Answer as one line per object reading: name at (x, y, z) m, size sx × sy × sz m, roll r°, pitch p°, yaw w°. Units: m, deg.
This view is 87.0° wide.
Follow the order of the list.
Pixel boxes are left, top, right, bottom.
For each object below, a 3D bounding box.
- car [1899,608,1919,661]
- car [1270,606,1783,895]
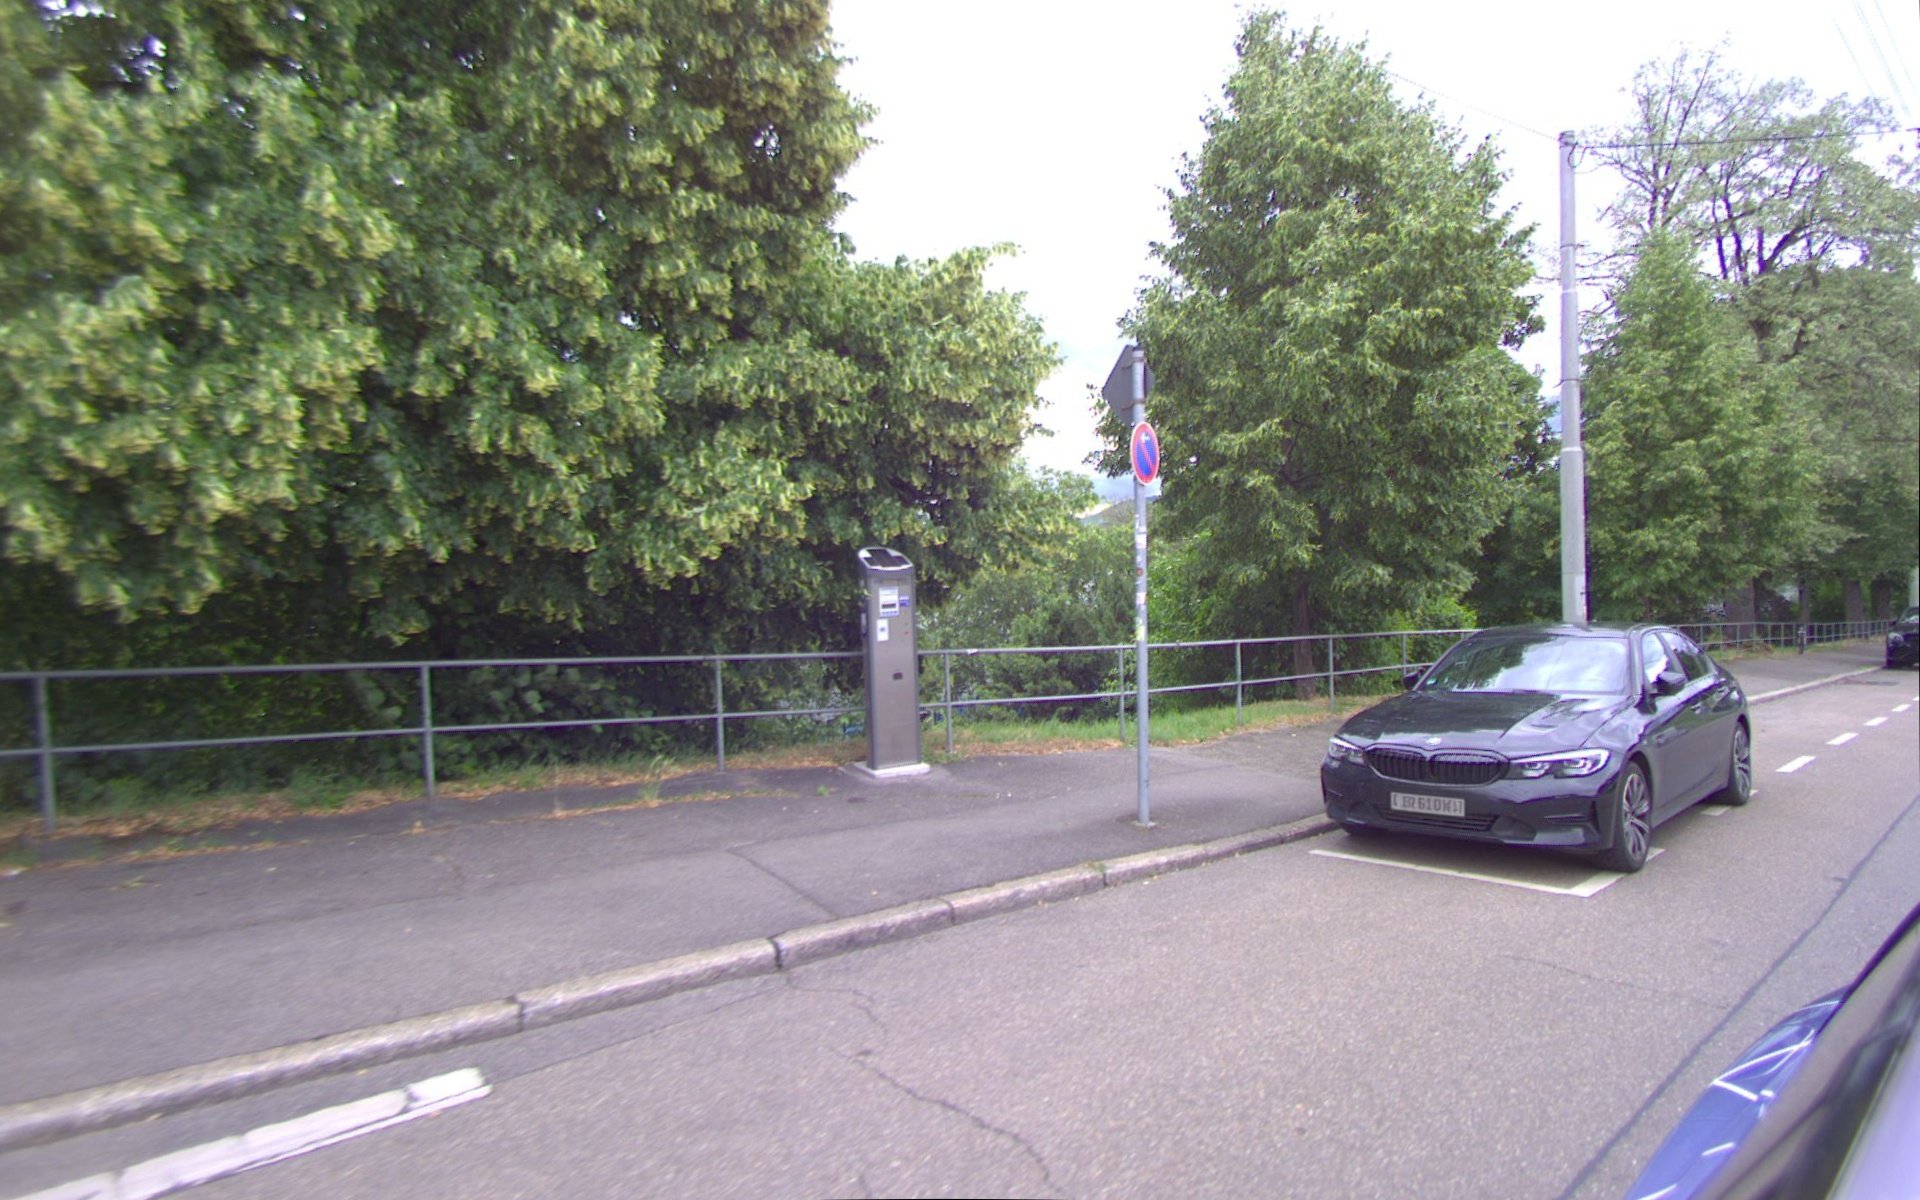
car at (26.502, 0.895, 26.863) m, size 3.869 × 1.370 × 1.821 m, roll 1°, pitch -2°, yaw -40°
car at (4.291, 0.816, 7.361) m, size 4.311 × 1.461 × 1.861 m, roll 0°, pitch -2°, yaw -41°
